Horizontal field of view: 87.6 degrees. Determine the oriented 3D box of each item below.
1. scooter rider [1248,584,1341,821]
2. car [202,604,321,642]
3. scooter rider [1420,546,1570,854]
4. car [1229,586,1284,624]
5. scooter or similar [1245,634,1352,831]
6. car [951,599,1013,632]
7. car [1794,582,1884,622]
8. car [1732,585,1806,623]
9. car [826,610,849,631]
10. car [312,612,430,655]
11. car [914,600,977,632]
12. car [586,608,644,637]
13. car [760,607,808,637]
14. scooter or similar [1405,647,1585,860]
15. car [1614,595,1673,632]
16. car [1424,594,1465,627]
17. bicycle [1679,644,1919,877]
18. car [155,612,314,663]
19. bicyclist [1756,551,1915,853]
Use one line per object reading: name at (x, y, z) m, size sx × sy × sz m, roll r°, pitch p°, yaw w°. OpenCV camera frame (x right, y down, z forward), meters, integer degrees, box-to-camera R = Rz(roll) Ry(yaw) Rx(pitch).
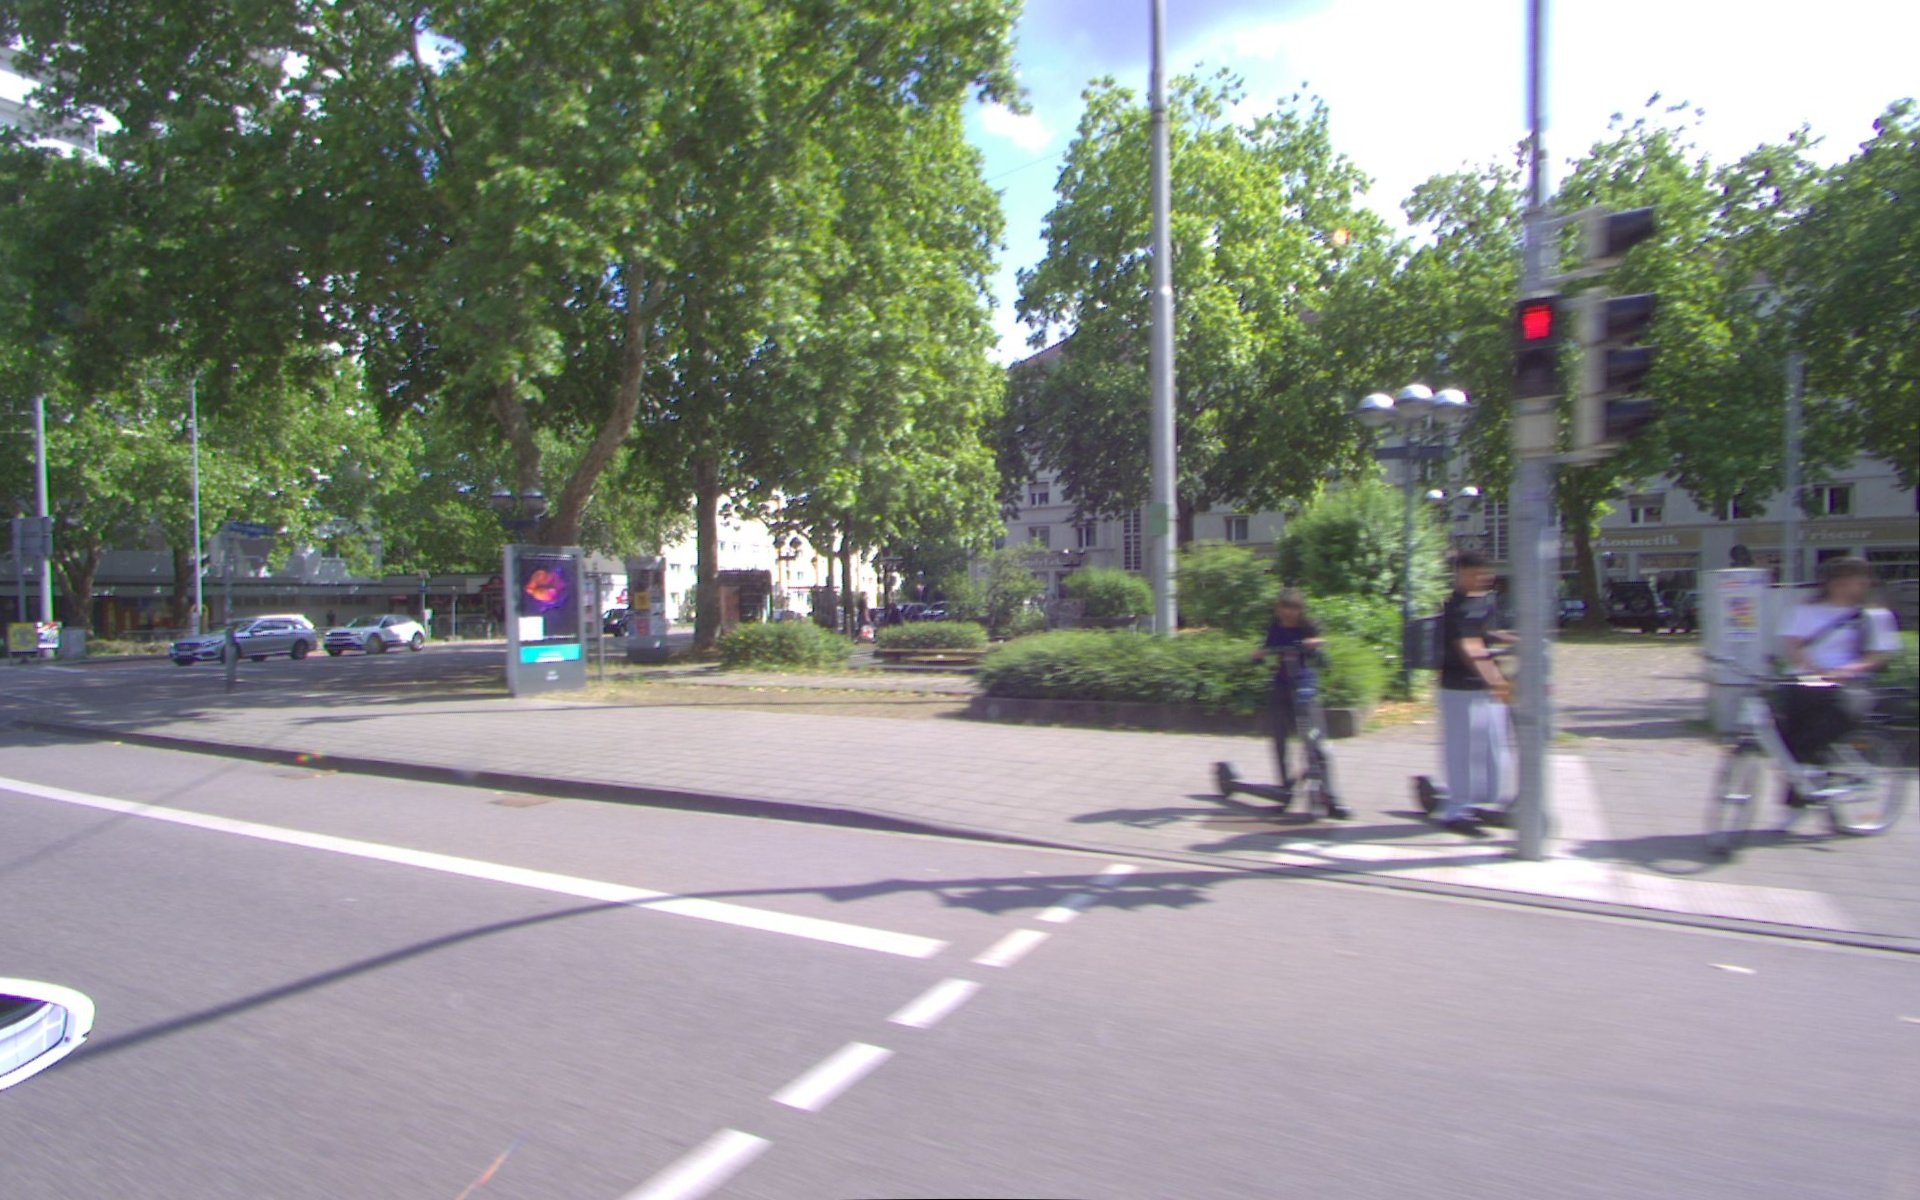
scooter rider at (2.348, 0.706, 7.060) m, size 0.534 × 1.615 × 0.437 m, roll -1°, pitch 3°, yaw 7°
car at (-30.420, 0.975, 43.696) m, size 1.835 × 1.510 × 3.828 m, roll -1°, pitch 0°, yaw 32°
scooter rider at (3.398, 0.588, 6.382) m, size 0.538 × 1.835 × 0.675 m, roll -3°, pitch 3°, yaw -35°
car at (14.180, 0.238, 47.764) m, size 1.967 × 1.706 × 3.987 m, roll -1°, pitch 0°, yaw 24°
scooter or similar at (2.347, 0.888, 7.008) m, size 0.534 × 1.243 × 0.876 m, roll -1°, pitch 2°, yaw 7°
car at (1.260, 0.839, 55.460) m, size 1.823 × 1.681 × 4.066 m, roll 0°, pitch 0°, yaw 28°
car at (39.439, 0.081, 45.047) m, size 2.049 × 1.681 × 4.067 m, roll 0°, pitch 0°, yaw 27°
car at (37.225, 0.180, 46.165) m, size 1.822 × 1.681 × 4.067 m, roll 0°, pitch 0°, yaw 27°
car at (-11.070, 1.852, 90.640) m, size 1.552 × 1.742 × 3.998 m, roll -1°, pitch 1°, yaw 1°
car at (-22.943, 1.271, 39.187) m, size 1.825 × 1.510 × 4.074 m, roll -1°, pitch 0°, yaw 8°
car at (-0.753, 0.866, 56.475) m, size 1.823 × 1.681 × 4.066 m, roll 0°, pitch 0°, yaw 28°
car at (-20.595, 1.308, 59.933) m, size 1.658 × 1.641 × 3.998 m, roll -1°, pitch 0°, yaw 7°
car at (-9.950, 1.206, 56.881) m, size 1.658 × 1.522 × 3.998 m, roll -1°, pitch 1°, yaw 6°
scooter or similar at (3.402, 0.928, 6.404) m, size 0.538 × 1.187 × 0.870 m, roll -3°, pitch 3°, yaw -35°
car at (33.279, 0.632, 48.865) m, size 1.822 × 1.681 × 4.067 m, roll 0°, pitch 0°, yaw 27°
car at (25.871, 0.546, 53.423) m, size 1.823 × 1.681 × 4.066 m, roll 0°, pitch 0°, yaw 28°
bicycle at (5.044, 0.887, 5.918) m, size 1.603 × 1.128 × 0.505 m, roll -3°, pitch 3°, yaw -22°
car at (-23.605, 1.181, 32.769) m, size 1.826 × 1.510 × 3.996 m, roll -1°, pitch 0°, yaw 13°
bicyclist at (5.213, 0.570, 5.975) m, size 0.574 × 1.691 × 0.505 m, roll -3°, pitch 3°, yaw -21°
